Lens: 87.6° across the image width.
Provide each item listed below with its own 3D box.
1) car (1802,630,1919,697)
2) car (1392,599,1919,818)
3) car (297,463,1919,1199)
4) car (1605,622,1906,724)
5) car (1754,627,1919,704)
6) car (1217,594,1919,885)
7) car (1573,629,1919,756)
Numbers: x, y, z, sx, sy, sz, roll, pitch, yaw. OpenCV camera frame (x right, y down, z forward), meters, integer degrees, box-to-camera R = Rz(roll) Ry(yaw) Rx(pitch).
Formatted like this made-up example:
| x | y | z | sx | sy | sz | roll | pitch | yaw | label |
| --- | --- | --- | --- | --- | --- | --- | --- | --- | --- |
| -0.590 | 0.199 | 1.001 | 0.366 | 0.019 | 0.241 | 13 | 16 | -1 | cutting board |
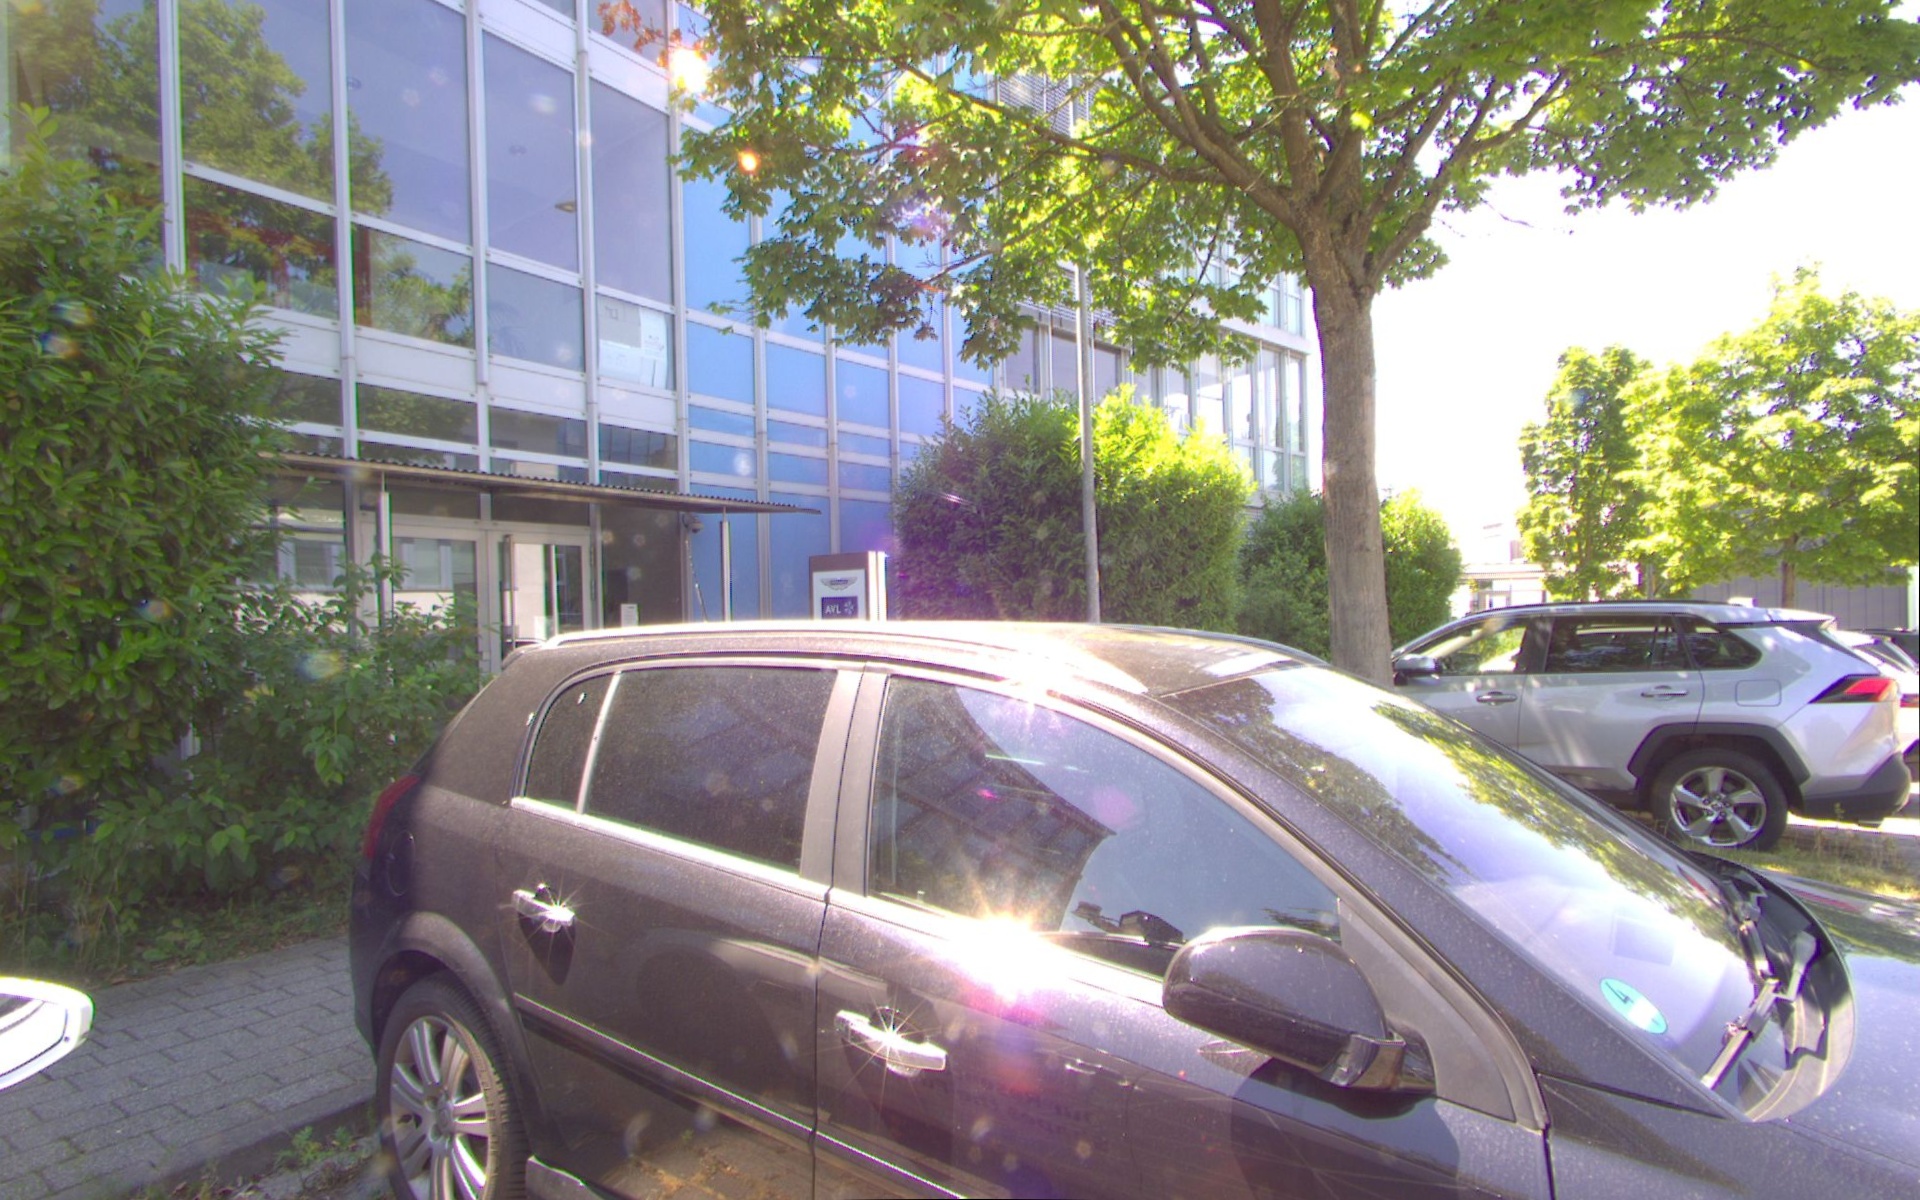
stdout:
| x | y | z | sx | sy | sz | roll | pitch | yaw | label |
| --- | --- | --- | --- | --- | --- | --- | --- | --- | --- |
| 22.289 | 1.488 | 23.503 | 1.614 | 1.462 | 3.566 | 1 | -1 | -34 | car |
| 6.474 | 0.848 | 9.398 | 4.150 | 1.664 | 1.649 | 0 | -1 | 39 | car |
| 0.479 | 0.710 | 2.155 | 4.506 | 1.569 | 1.753 | -1 | -2 | 36 | car |
| 14.693 | 1.258 | 18.716 | 1.641 | 1.626 | 4.145 | 1 | -1 | -38 | car |
| 20.221 | 1.426 | 22.385 | 1.614 | 1.545 | 3.566 | 1 | -1 | -34 | car |
| 4.400 | 0.812 | 7.786 | 4.278 | 1.664 | 1.844 | 0 | -1 | 39 | car |
| 11.432 | 1.222 | 14.444 | 1.645 | 1.505 | 4.136 | 2 | -1 | -44 | car |
